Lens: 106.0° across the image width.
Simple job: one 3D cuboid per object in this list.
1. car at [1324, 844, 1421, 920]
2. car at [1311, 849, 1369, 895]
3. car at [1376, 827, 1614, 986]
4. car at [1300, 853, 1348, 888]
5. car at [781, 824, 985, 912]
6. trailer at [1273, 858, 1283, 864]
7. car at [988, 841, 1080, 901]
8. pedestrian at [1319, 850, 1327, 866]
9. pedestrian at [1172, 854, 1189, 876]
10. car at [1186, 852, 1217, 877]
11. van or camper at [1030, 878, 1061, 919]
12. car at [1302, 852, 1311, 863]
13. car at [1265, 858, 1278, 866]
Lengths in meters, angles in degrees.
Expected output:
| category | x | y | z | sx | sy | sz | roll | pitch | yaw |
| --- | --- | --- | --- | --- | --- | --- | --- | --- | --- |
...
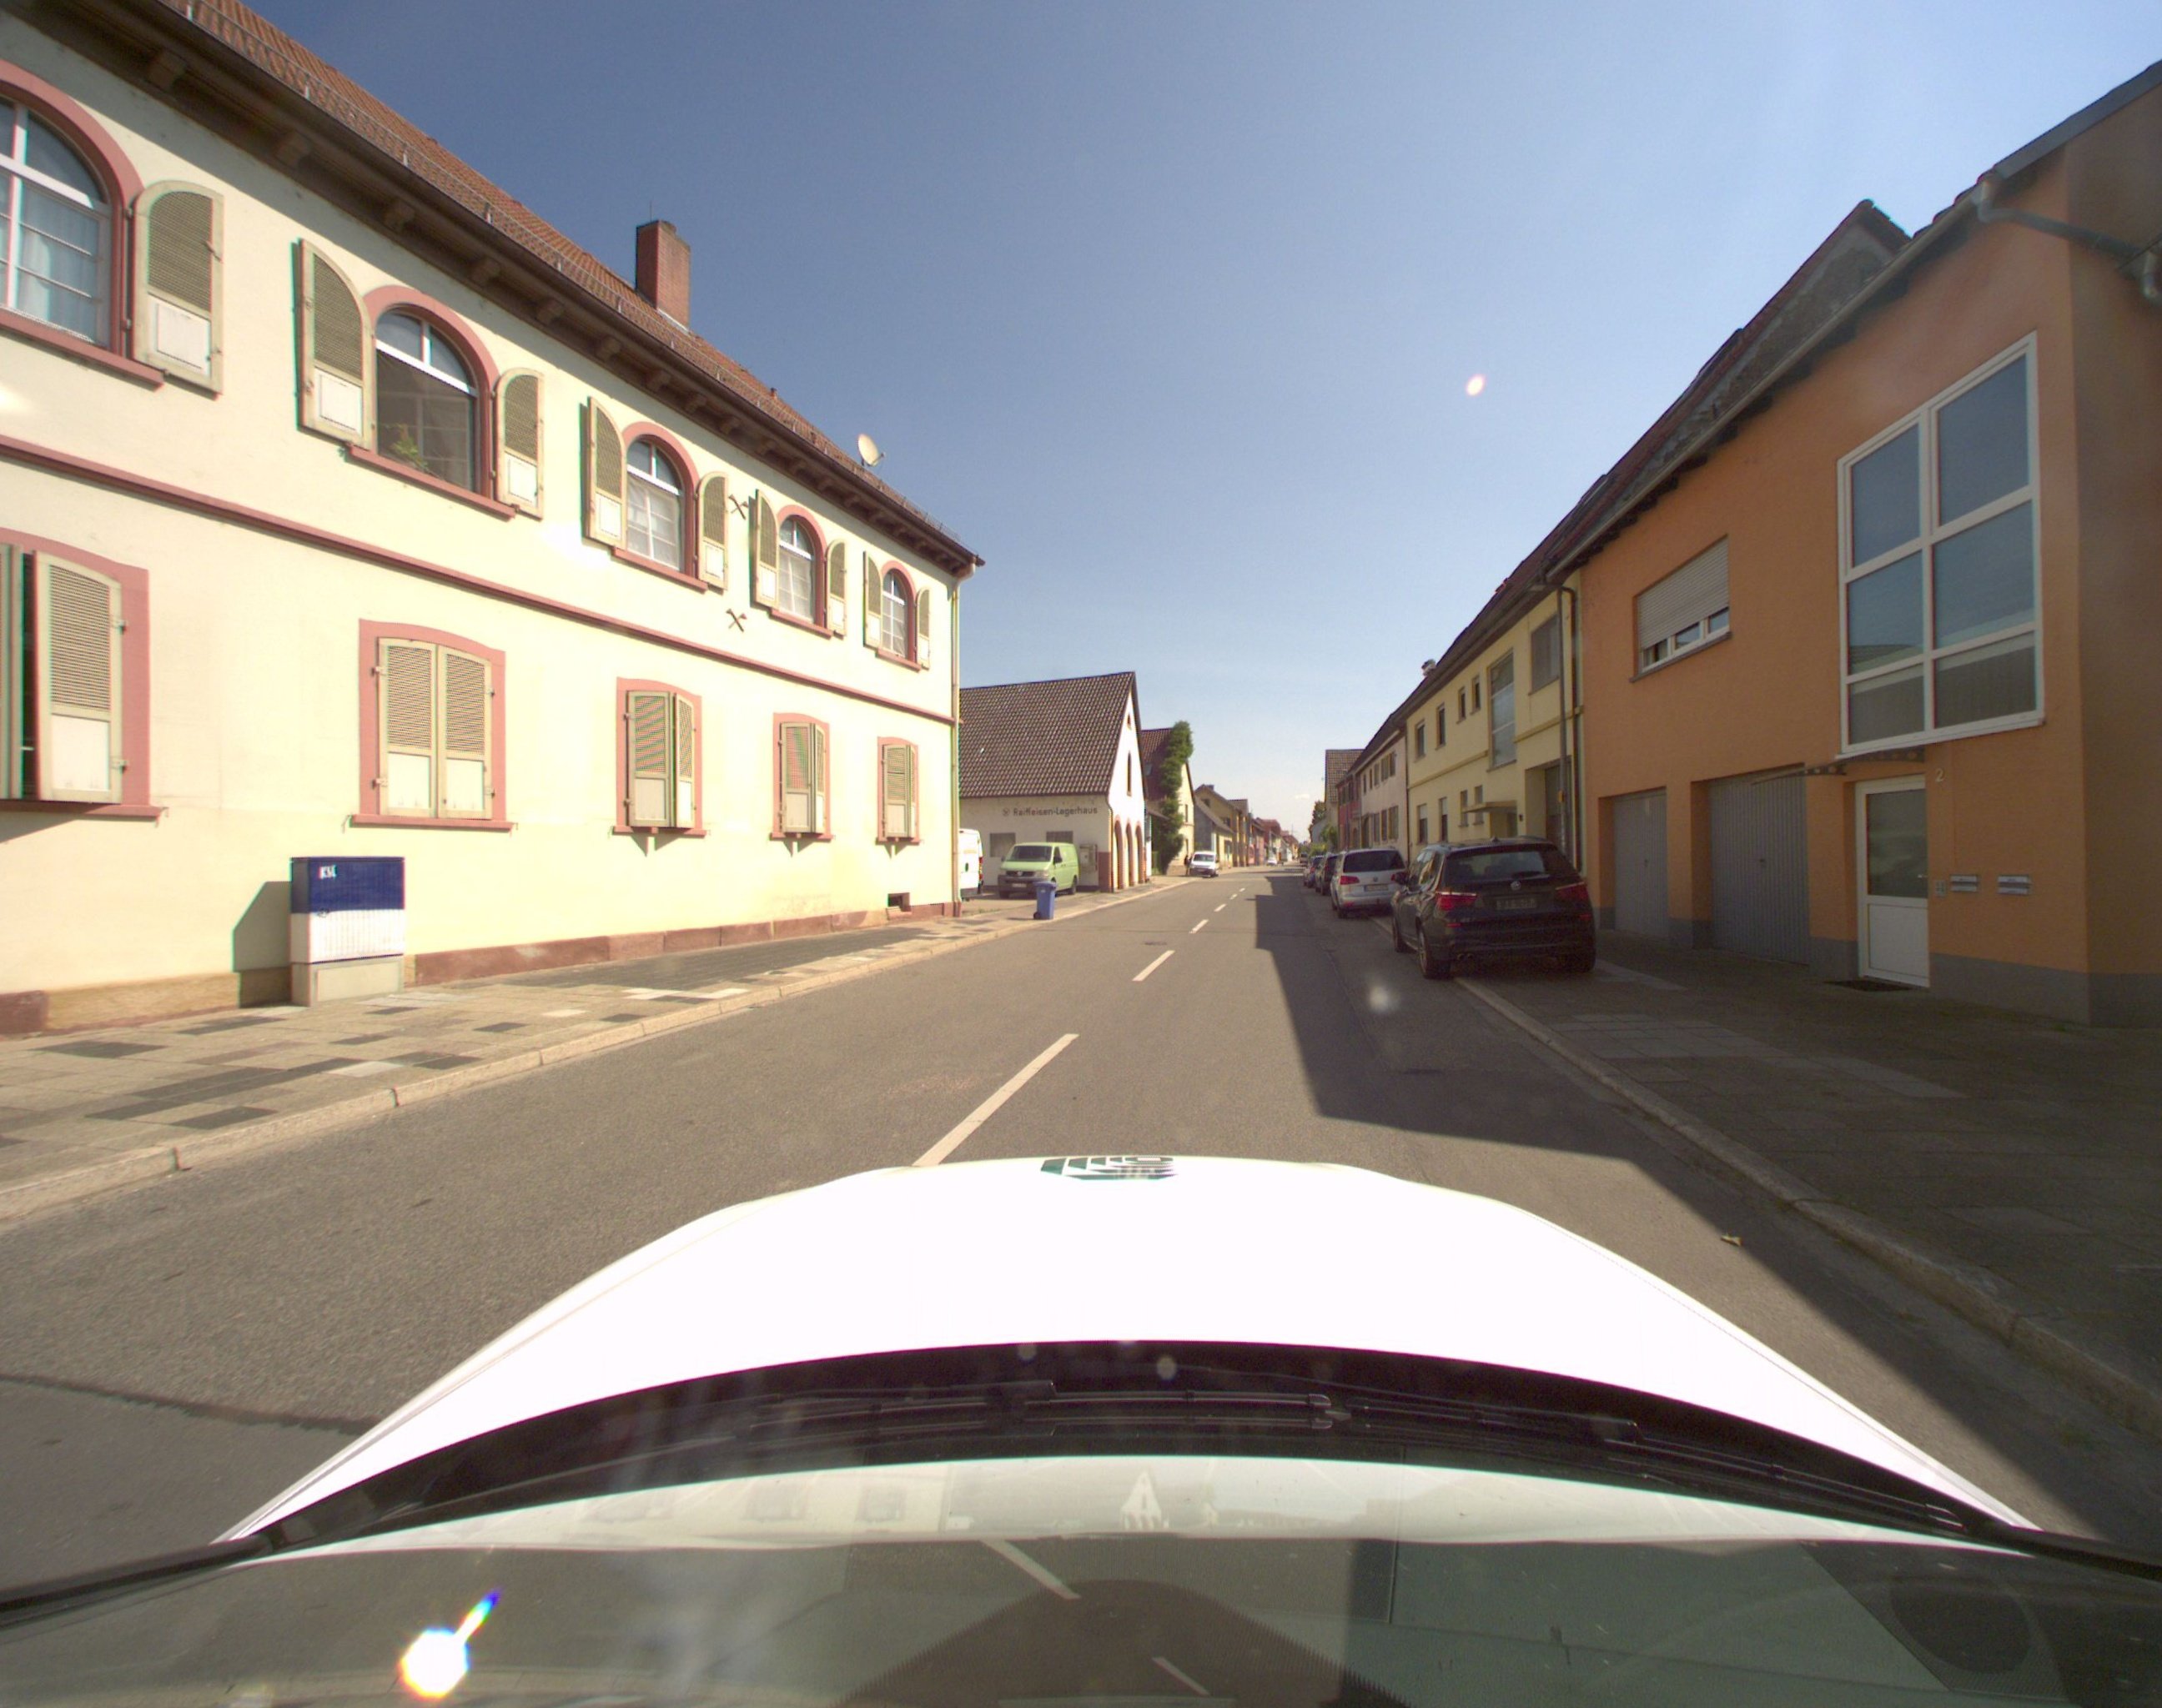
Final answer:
| category | x | y | z | sx | sy | sz | roll | pitch | yaw |
| --- | --- | --- | --- | --- | --- | --- | --- | --- | --- |
| car | 7.248 | 0.636 | 20.604 | 1.885 | 1.728 | 4.264 | 0 | 0 | 14 |
| car | 9.750 | 0.654 | 30.897 | 1.687 | 1.584 | 4.041 | -2 | -1 | 12 |
| car | 5.428 | 0.588 | 11.463 | 1.831 | 1.702 | 5.200 | -1 | 0 | 14 |
| car | 11.131 | 0.716 | 37.536 | 1.687 | 1.469 | 4.424 | -2 | -1 | 11 |
| car | -5.403 | 0.343 | 22.231 | 5.130 | 2.197 | 2.134 | 0 | 0 | 23 |
| trailer | 39.829 | 1.461 | 164.651 | 1.979 | 1.090 | 4.016 | -1 | 1 | 14 |
| car | -1.584 | 0.578 | 29.446 | 1.979 | 1.964 | 4.687 | -1 | 0 | 14 |
| pedestrian | 24.480 | 0.395 | 82.313 | 0.713 | 1.664 | 0.896 | 0 | -1 | 18 |
| pedestrian | 7.118 | 0.764 | 58.014 | 1.128 | 1.552 | 1.020 | 0 | 0 | 12 |
| car | 8.536 | 0.709 | 57.312 | 1.842 | 1.647 | 4.445 | -1 | 0 | 13 |
| van or camper | -0.873 | 1.085 | 20.022 | 0.584 | 0.951 | 0.603 | 0 | 0 | 19 |
| car | 52.860 | 0.748 | 190.781 | 2.003 | 2.568 | 4.015 | -1 | -1 | 14 |
| car | 34.734 | 1.392 | 148.417 | 1.979 | 1.442 | 4.016 | -1 | -1 | 15 |
